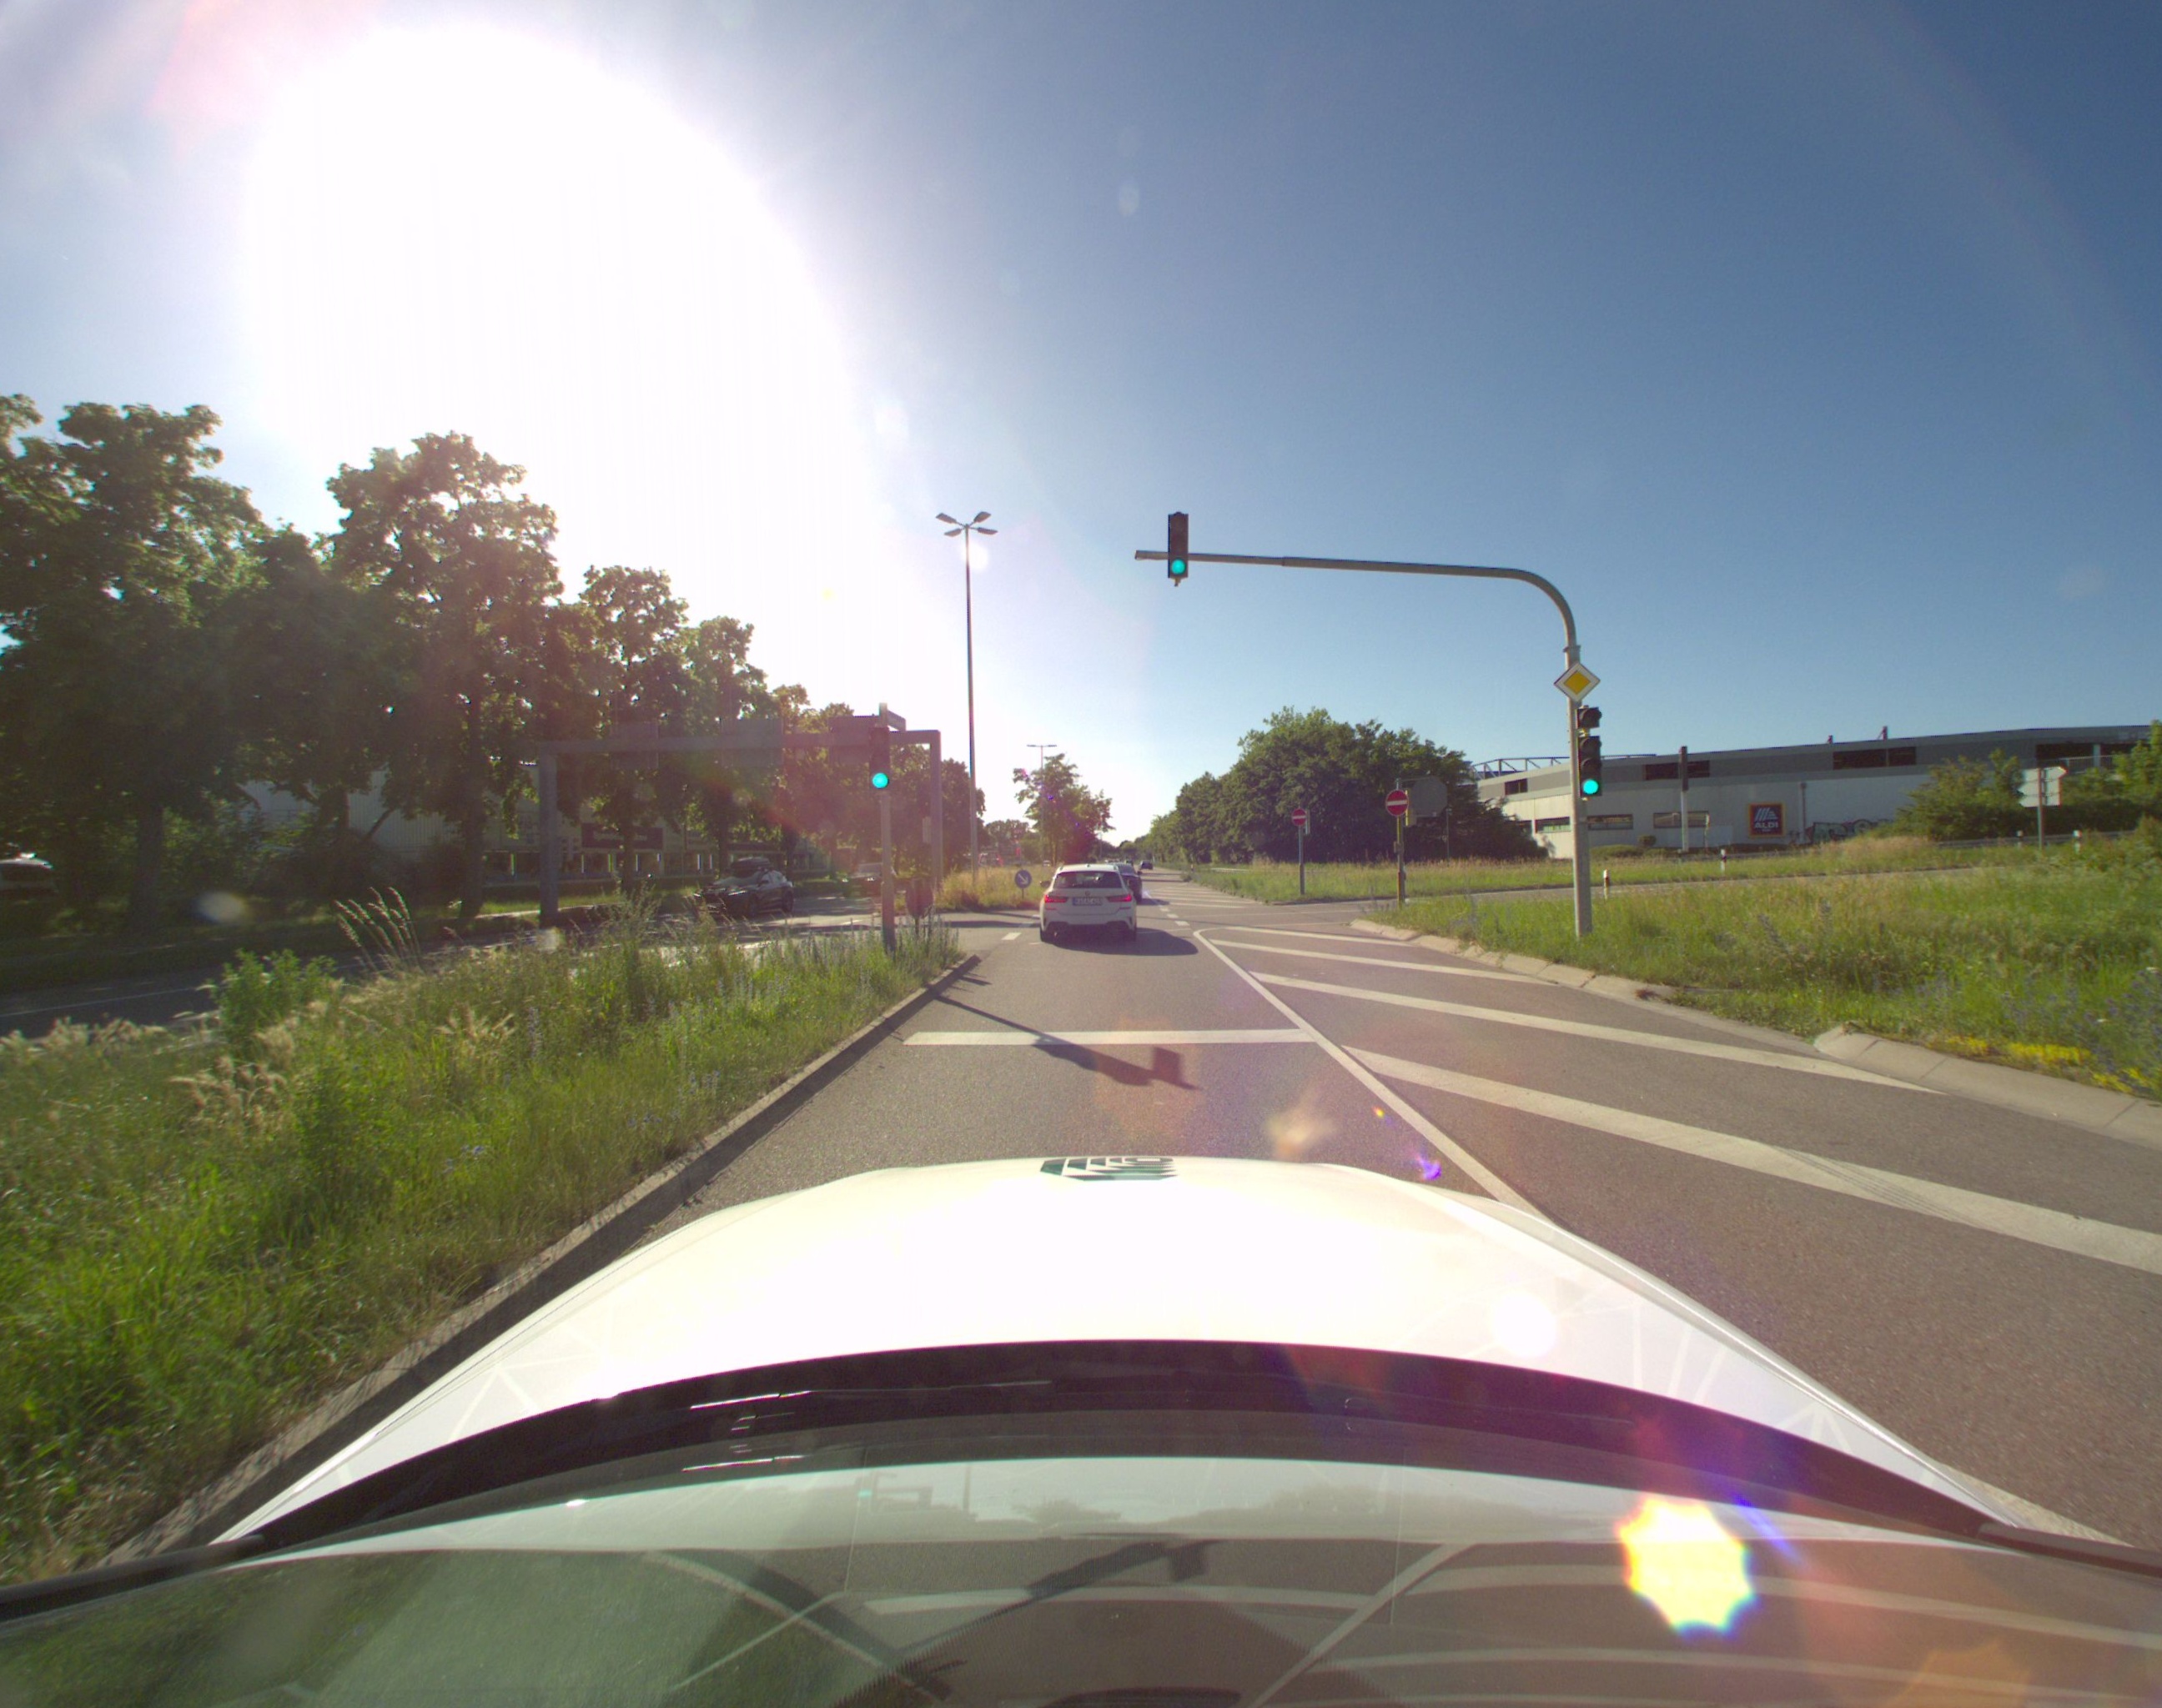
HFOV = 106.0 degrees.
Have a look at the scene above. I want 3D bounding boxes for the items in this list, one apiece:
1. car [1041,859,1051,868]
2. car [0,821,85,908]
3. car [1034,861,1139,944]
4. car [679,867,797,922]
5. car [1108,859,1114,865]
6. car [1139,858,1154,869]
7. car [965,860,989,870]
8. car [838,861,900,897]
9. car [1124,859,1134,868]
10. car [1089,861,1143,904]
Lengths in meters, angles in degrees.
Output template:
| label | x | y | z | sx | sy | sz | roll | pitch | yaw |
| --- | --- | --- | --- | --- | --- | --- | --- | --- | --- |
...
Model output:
| label | x | y | z | sx | sy | sz | roll | pitch | yaw |
| --- | --- | --- | --- | --- | --- | --- | --- | --- | --- |
| car | -7.275 | 2.008 | 170.153 | 1.700 | 1.746 | 4.166 | -1 | 0 | 1 |
| car | -33.133 | 0.369 | 23.466 | 5.862 | 2.433 | 2.205 | -2 | 0 | -2 |
| car | 0.193 | 0.878 | 16.703 | 1.854 | 1.455 | 4.550 | 0 | 0 | 2 |
| car | -11.455 | 1.296 | 27.574 | 1.869 | 1.543 | 4.574 | -3 | 0 | 2 |
| car | 8.463 | 2.170 | 229.529 | 1.855 | 1.565 | 4.549 | -1 | 0 | 2 |
| car | 9.720 | 1.394 | 121.028 | 1.855 | 1.499 | 4.337 | -1 | -1 | 1 |
| car | -19.148 | 2.059 | 149.746 | 4.092 | 1.662 | 1.895 | -2 | 0 | 4 |
| car | -11.258 | 1.273 | 43.561 | 1.935 | 1.697 | 4.631 | -3 | 0 | 2 |
| car | 8.992 | 1.824 | 153.117 | 1.766 | 1.555 | 3.833 | -2 | 0 | 0 |
| car | 1.303 | 1.015 | 31.000 | 1.855 | 1.455 | 4.549 | -1 | 0 | 2 |
